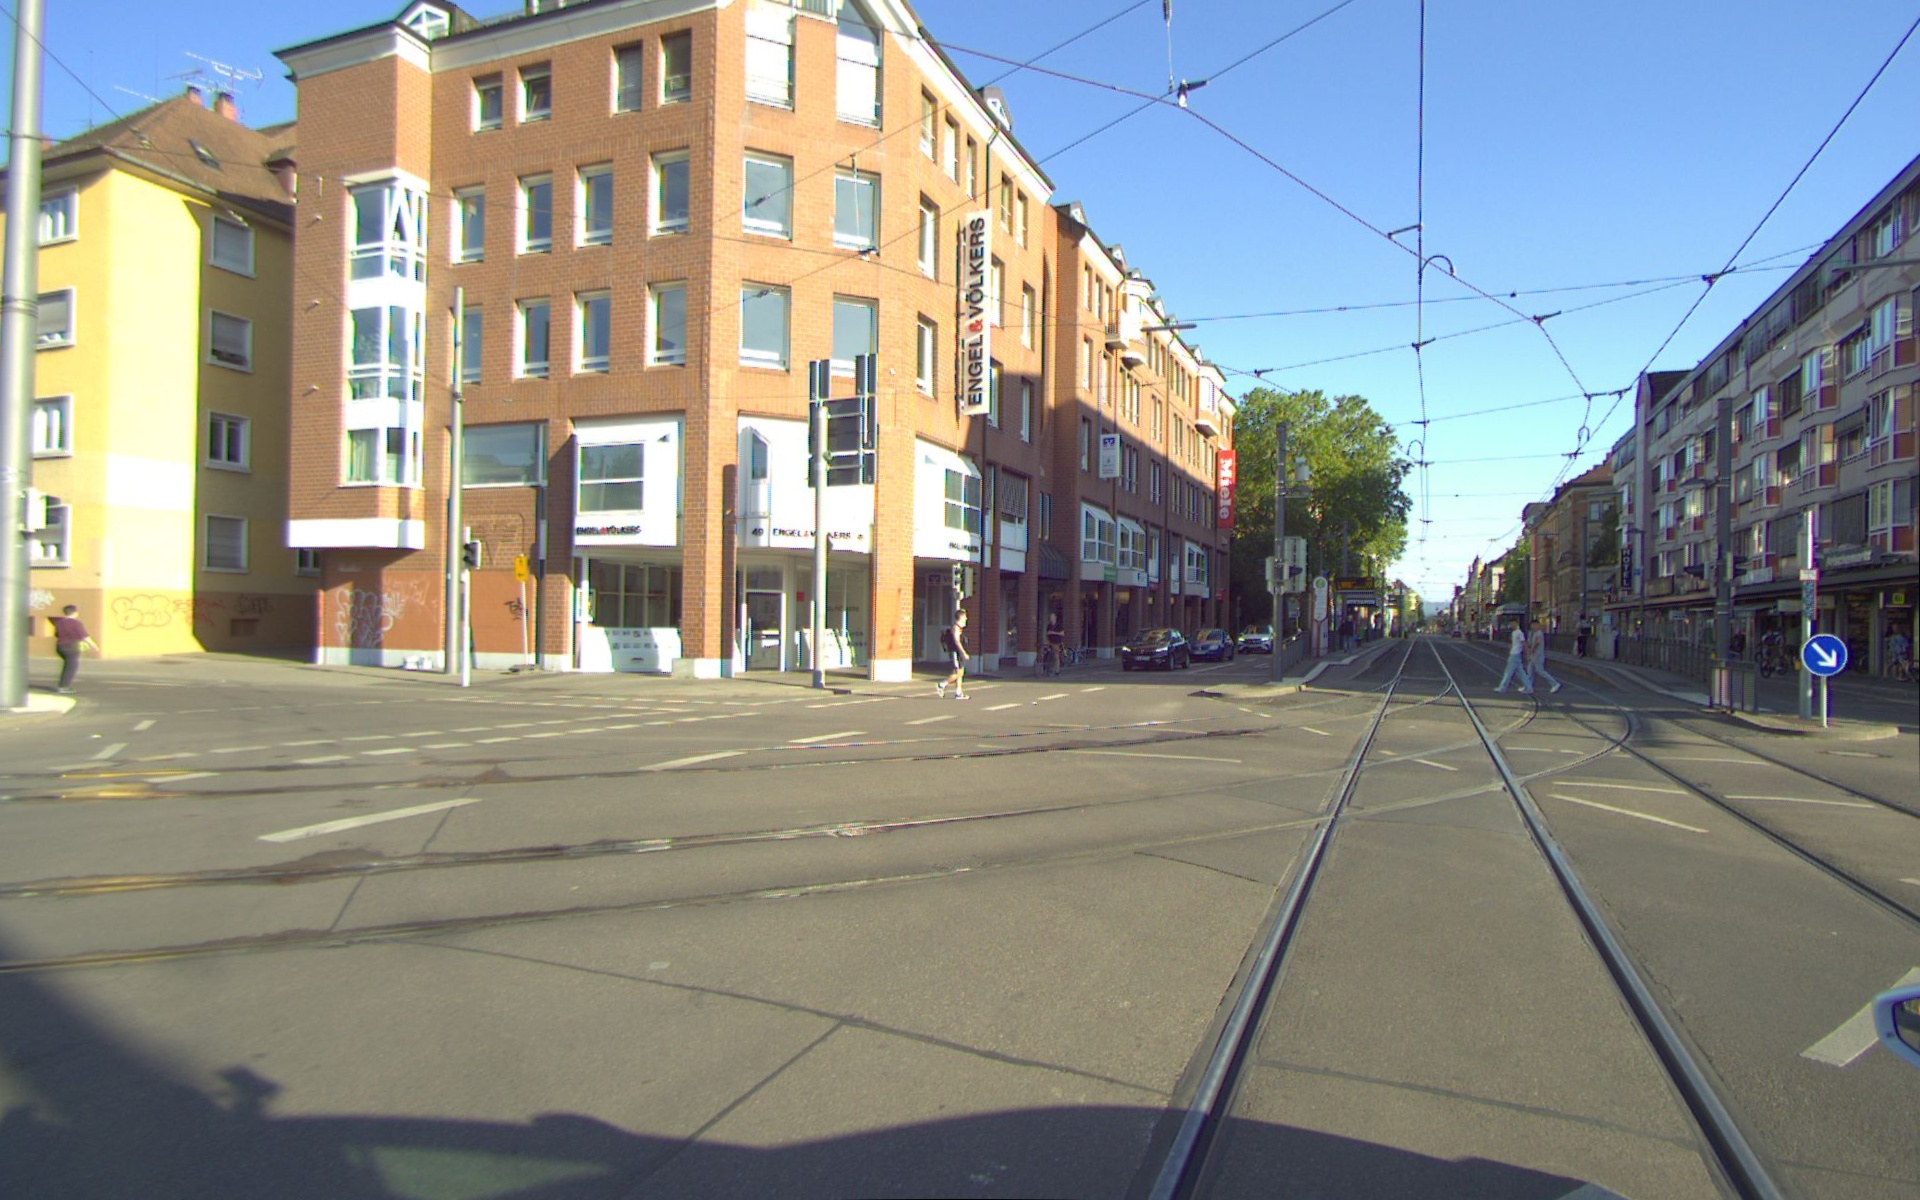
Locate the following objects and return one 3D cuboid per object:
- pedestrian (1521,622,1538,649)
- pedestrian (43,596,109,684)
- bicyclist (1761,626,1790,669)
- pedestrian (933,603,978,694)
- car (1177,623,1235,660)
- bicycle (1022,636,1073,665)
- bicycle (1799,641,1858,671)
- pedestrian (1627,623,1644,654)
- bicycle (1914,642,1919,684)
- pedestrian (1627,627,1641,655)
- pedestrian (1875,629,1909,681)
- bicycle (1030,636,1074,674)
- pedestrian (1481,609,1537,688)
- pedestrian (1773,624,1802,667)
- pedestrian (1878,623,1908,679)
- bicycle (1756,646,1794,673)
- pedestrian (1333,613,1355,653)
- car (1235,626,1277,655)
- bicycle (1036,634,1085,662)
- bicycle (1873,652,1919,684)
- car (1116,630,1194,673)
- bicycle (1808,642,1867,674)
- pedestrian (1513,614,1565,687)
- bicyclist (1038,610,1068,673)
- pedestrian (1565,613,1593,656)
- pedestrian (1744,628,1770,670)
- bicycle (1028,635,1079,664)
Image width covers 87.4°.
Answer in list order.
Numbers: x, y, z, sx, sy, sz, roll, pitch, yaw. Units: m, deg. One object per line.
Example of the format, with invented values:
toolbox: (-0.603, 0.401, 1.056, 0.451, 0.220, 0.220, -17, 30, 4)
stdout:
pedestrian: (36.294, 2.237, 63.988, 0.765, 1.682, 0.684, 1, 1, 15)
pedestrian: (-16.602, 0.729, 18.877, 0.778, 1.610, 0.604, 0, 1, -25)
bicyclist: (30.158, 1.753, 37.138, 0.794, 1.553, 0.622, 0, -2, -37)
pedestrian: (-0.096, 0.971, 20.311, 0.814, 1.781, 0.695, 1, 1, -7)
car: (10.926, 1.793, 44.470, 1.718, 1.444, 3.933, 1, 1, 26)
bicycle: (3.197, 1.848, 36.821, 1.802, 0.974, 0.543, 1, 1, 23)
bicycle: (34.377, 2.209, 39.778, 1.617, 1.134, 0.566, 1, 1, 20)
pedestrian: (45.351, 2.565, 67.446, 0.826, 2.041, 0.776, 1, 1, 29)
bicycle: (28.429, 1.850, 28.890, 0.716, 1.243, 2.330, 1, -1, 25)
pedestrian: (49.033, 2.975, 73.078, 0.761, 2.040, 0.503, 0, 1, 29)
pedestrian: (30.743, 1.795, 33.135, 0.595, 1.657, 0.607, 0, 1, -24)
bicycle: (2.873, 1.703, 31.269, 0.623, 1.063, 1.833, 1, 1, 30)
pedestrian: (12.825, 1.122, 23.484, 0.986, 1.788, 0.510, 1, 1, 0)
pedestrian: (35.356, 1.933, 42.911, 0.674, 1.802, 0.811, 0, 1, -40)
pedestrian: (32.328, 1.763, 34.806, 0.600, 1.877, 0.602, 1, 1, 30)
bicycle: (30.287, 2.207, 37.322, 1.892, 0.942, 0.622, 0, -2, -36)
pedestrian: (15.992, 1.367, 41.833, 0.677, 1.599, 0.621, 1, 1, 0)
car: (17.191, 2.317, 58.229, 1.718, 1.444, 3.933, 1, 1, 26)
bicycle: (3.847, 1.835, 38.510, 1.802, 0.974, 0.543, 1, 1, 23)
bicycle: (29.562, 2.131, 31.702, 0.492, 0.929, 2.077, 1, -1, 25)
car: (7.041, 1.808, 36.058, 1.718, 1.261, 3.932, 1, 1, 27)
bicycle: (33.652, 2.213, 38.549, 1.617, 1.134, 0.484, 1, 1, 20)
pedestrian: (13.884, 1.208, 24.100, 0.852, 1.717, 0.622, 1, 1, -12)
bicyclist: (2.910, 1.272, 31.319, 0.623, 1.904, 0.809, 1, 1, 30)
pedestrian: (24.858, 1.374, 40.330, 0.765, 1.682, 0.684, 1, 1, 15)
pedestrian: (33.083, 2.035, 41.716, 0.739, 1.667, 0.549, 1, 1, 30)
bicycle: (3.502, 1.841, 37.592, 1.802, 0.974, 0.543, 1, 1, 23)
